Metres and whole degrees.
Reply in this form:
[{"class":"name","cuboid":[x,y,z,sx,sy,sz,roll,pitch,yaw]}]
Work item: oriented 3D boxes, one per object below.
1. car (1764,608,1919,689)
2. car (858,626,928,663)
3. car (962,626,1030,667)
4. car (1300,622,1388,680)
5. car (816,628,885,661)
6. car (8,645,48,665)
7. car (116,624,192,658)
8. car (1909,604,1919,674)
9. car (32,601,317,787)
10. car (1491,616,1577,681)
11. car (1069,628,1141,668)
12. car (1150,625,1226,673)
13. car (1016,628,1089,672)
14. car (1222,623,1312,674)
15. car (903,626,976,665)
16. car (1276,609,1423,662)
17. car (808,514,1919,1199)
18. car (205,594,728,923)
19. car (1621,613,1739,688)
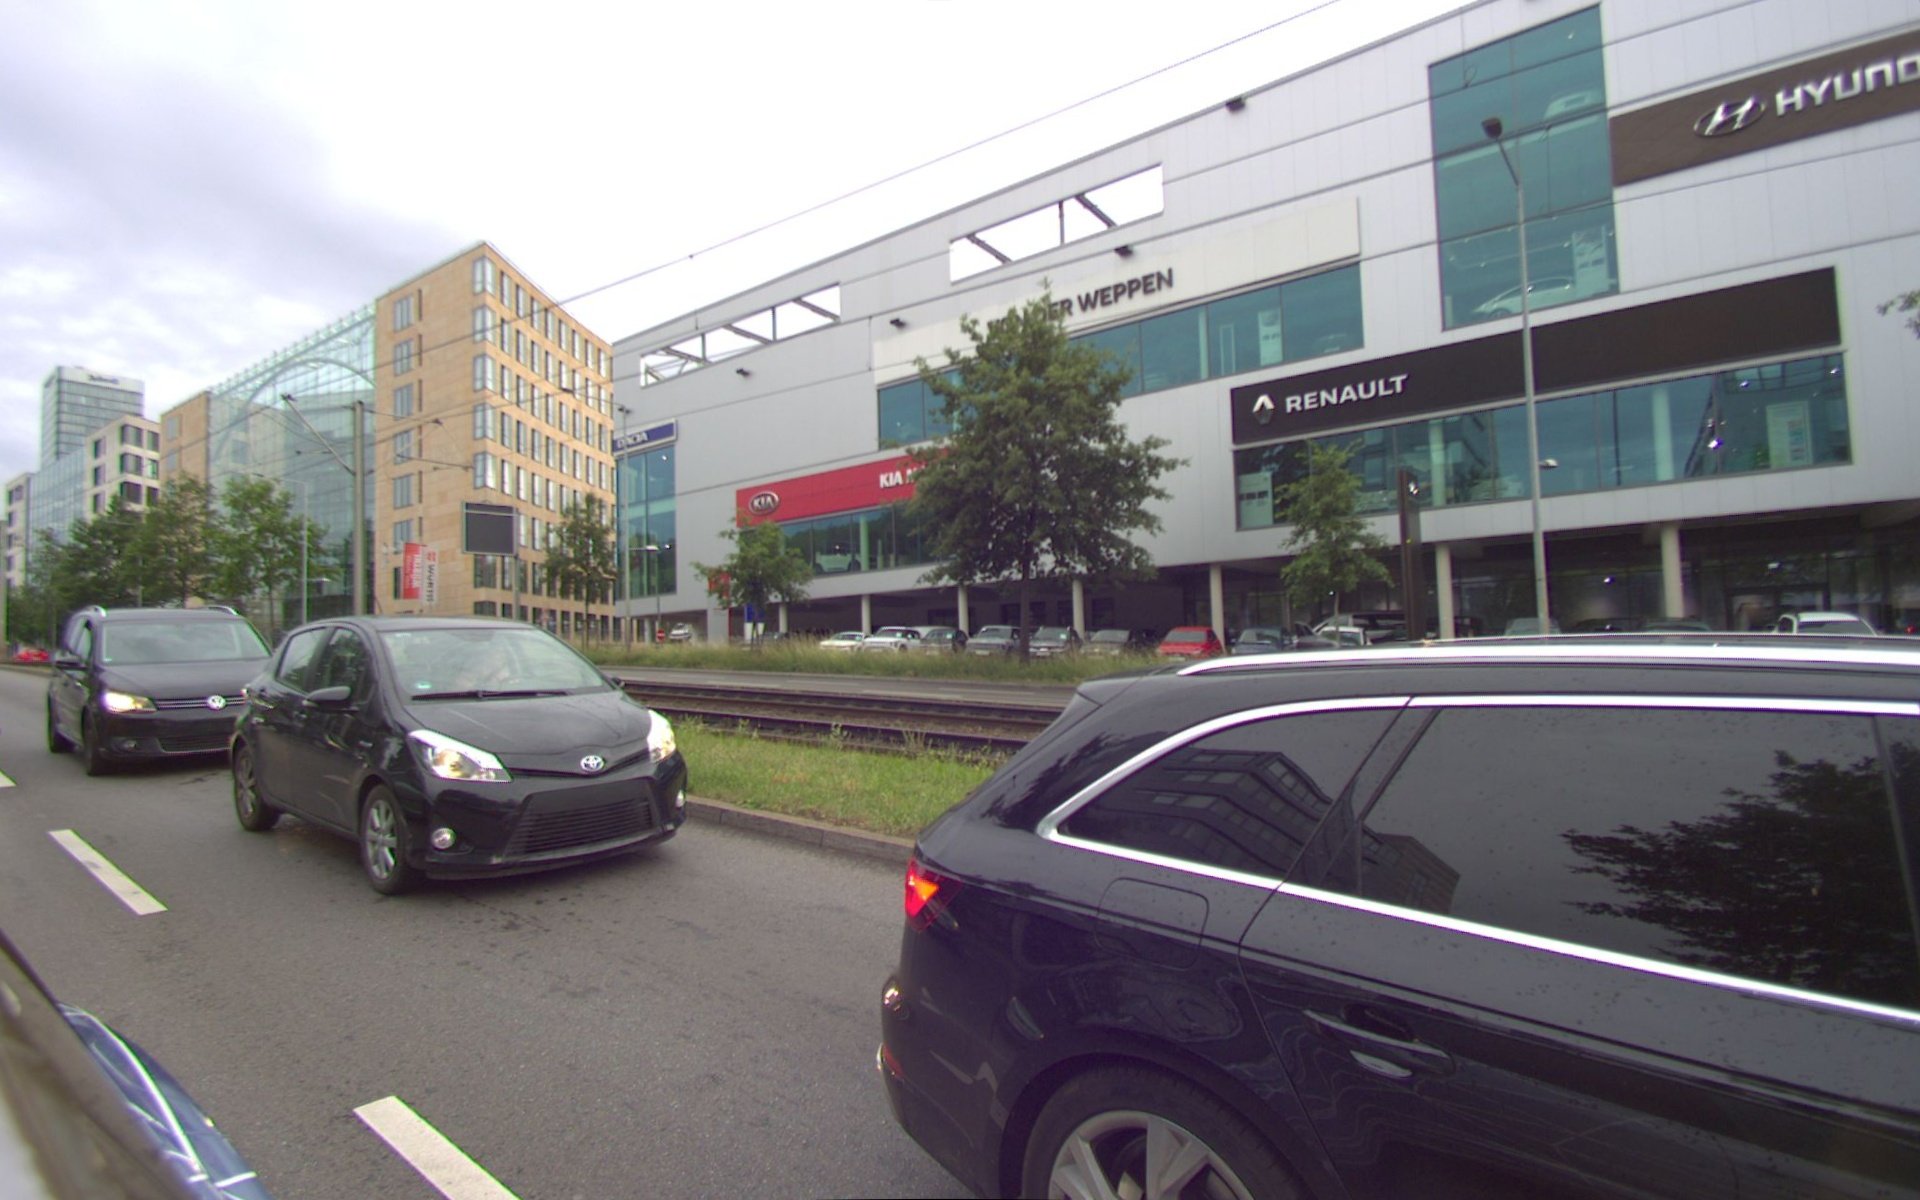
[{"class":"car","cuboid":[20.600,1.055,23.809,1.992,1.562,4.331,-1,1,30]},{"class":"car","cuboid":[-2.790,1.876,42.963,1.685,1.304,3.643,-2,1,18]},{"class":"car","cuboid":[1.459,1.798,39.685,1.686,1.362,3.503,-2,1,20]},{"class":"car","cuboid":[11.955,1.522,31.346,1.914,1.470,4.005,-1,1,30]},{"class":"car","cuboid":[-4.780,1.946,44.639,1.685,1.196,3.643,-2,1,18]},{"class":"car","cuboid":[-75.003,4.435,81.417,4.095,1.524,1.569,-1,-4,37]},{"class":"car","cuboid":[-42.822,2.162,53.747,4.832,1.733,1.975,-2,-4,37]},{"class":"car","cuboid":[22.838,0.955,22.188,1.992,1.627,4.331,-1,1,30]},{"class":"car","cuboid":[-8.671,0.869,11.024,4.317,1.619,1.762,-2,0,43]},{"class":"car","cuboid":[15.862,1.278,27.971,1.925,1.470,3.981,-1,1,30]},{"class":"car","cuboid":[5.251,1.692,36.324,1.688,1.190,3.498,-2,1,24]},{"class":"car","cuboid":[7.818,1.622,34.446,1.789,1.362,3.903,-2,1,24]},{"class":"car","cuboid":[3.503,1.844,37.784,1.688,1.362,3.498,-2,1,24]},{"class":"car","cuboid":[10.081,1.547,33.042,1.914,1.362,4.005,-1,1,30]},{"class":"car","cuboid":[-0.782,1.820,41.032,1.688,1.362,3.499,-2,1,23]},{"class":"car","cuboid":[13.962,1.259,36.498,4.488,1.796,1.997,-1,-1,5]},{"class":"car","cuboid":[1.930,0.642,1.475,4.511,1.478,1.762,-2,-2,41]},{"class":"car","cuboid":[-3.387,0.784,6.640,3.823,1.544,1.683,-1,-1,40]},{"class":"car","cuboid":[18.062,1.202,25.585,1.992,1.562,4.331,-1,1,30]}]
